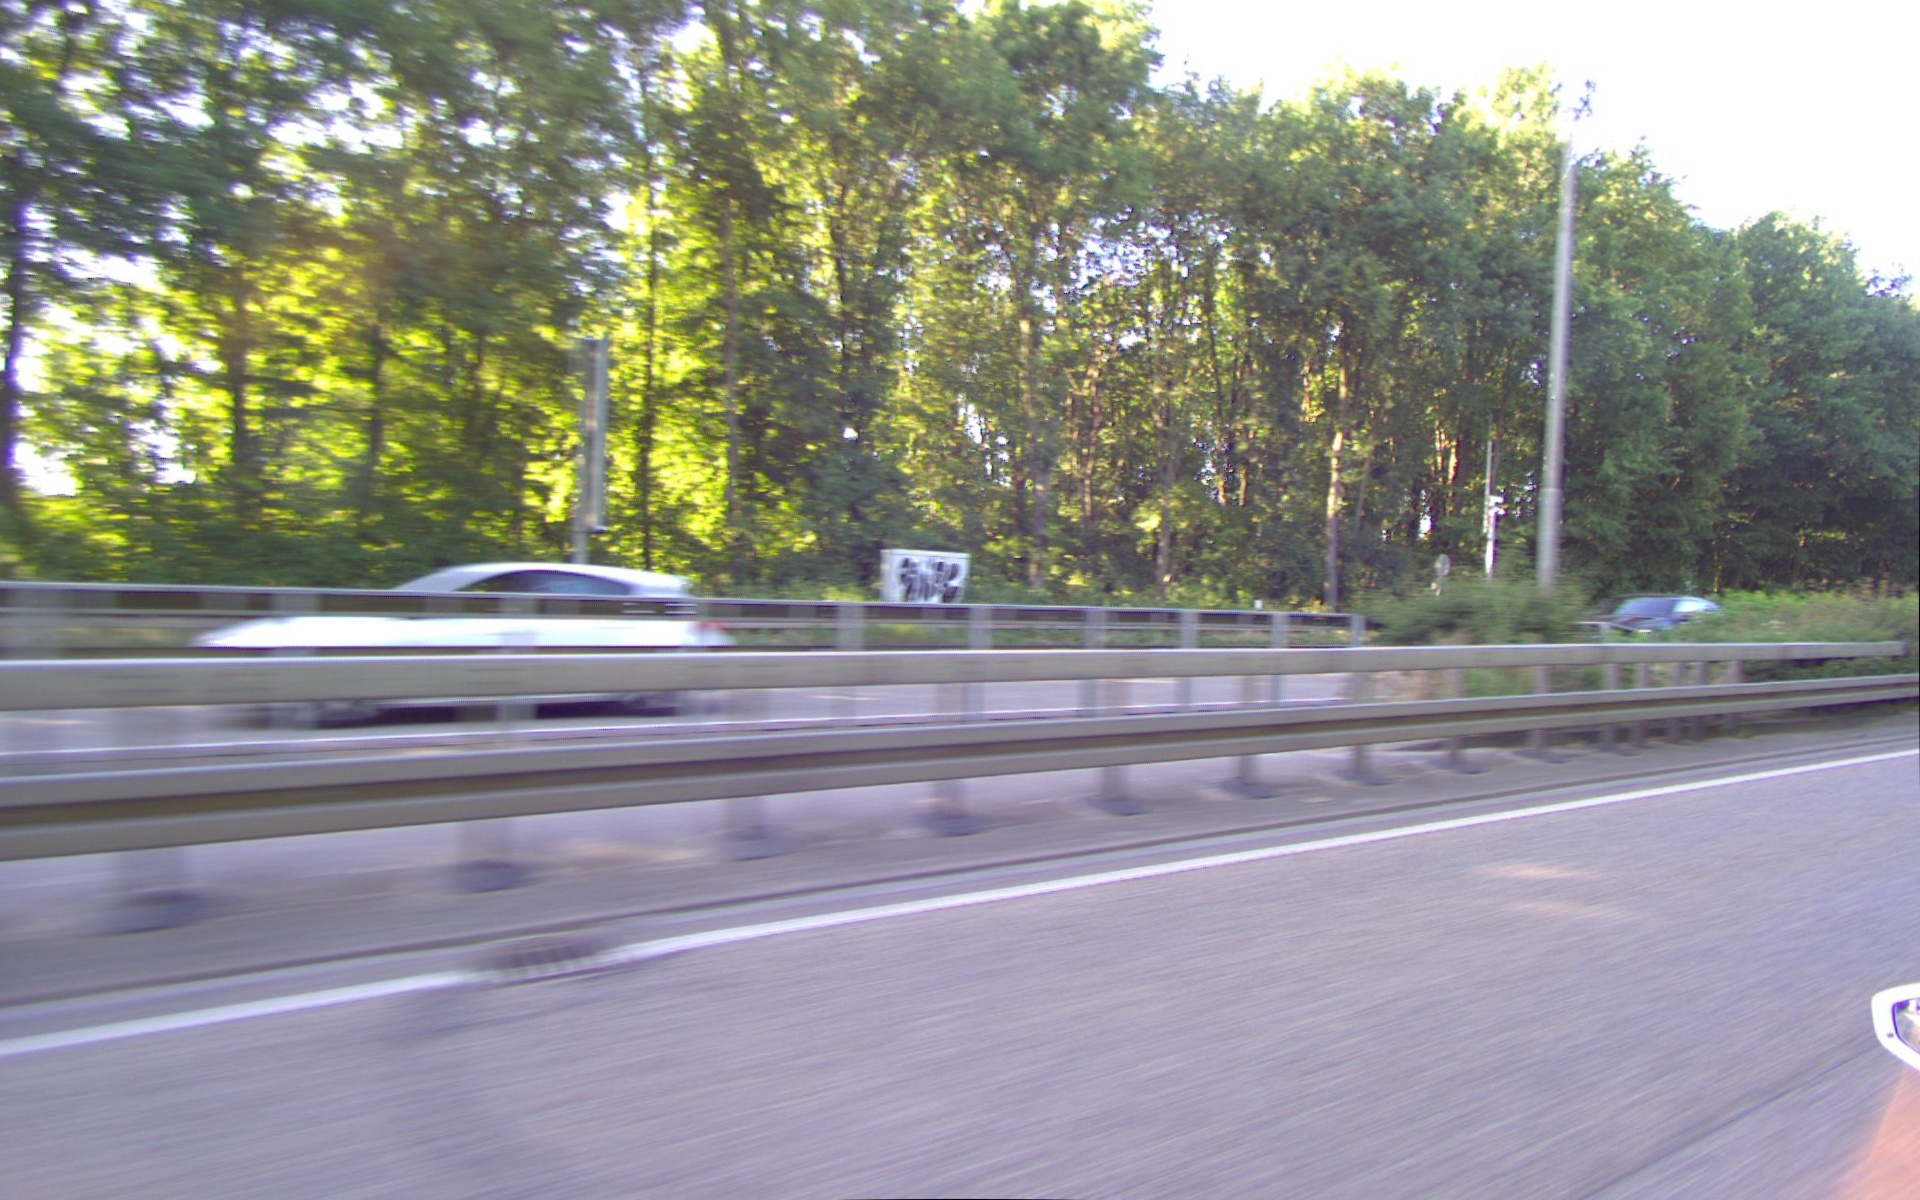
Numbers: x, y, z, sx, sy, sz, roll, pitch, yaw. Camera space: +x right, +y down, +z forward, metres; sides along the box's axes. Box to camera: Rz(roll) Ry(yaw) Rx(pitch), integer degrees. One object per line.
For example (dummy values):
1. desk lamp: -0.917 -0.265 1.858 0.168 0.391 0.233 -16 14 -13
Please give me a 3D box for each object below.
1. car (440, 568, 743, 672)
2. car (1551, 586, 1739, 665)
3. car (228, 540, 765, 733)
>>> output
1. car: -5.940 0.310 16.338 4.401 1.509 1.722 1 1 -30
2. car: 14.365 0.545 21.031 3.897 1.516 1.741 2 0 -30
3. car: -4.260 0.310 9.703 4.345 1.509 1.722 1 1 -30
